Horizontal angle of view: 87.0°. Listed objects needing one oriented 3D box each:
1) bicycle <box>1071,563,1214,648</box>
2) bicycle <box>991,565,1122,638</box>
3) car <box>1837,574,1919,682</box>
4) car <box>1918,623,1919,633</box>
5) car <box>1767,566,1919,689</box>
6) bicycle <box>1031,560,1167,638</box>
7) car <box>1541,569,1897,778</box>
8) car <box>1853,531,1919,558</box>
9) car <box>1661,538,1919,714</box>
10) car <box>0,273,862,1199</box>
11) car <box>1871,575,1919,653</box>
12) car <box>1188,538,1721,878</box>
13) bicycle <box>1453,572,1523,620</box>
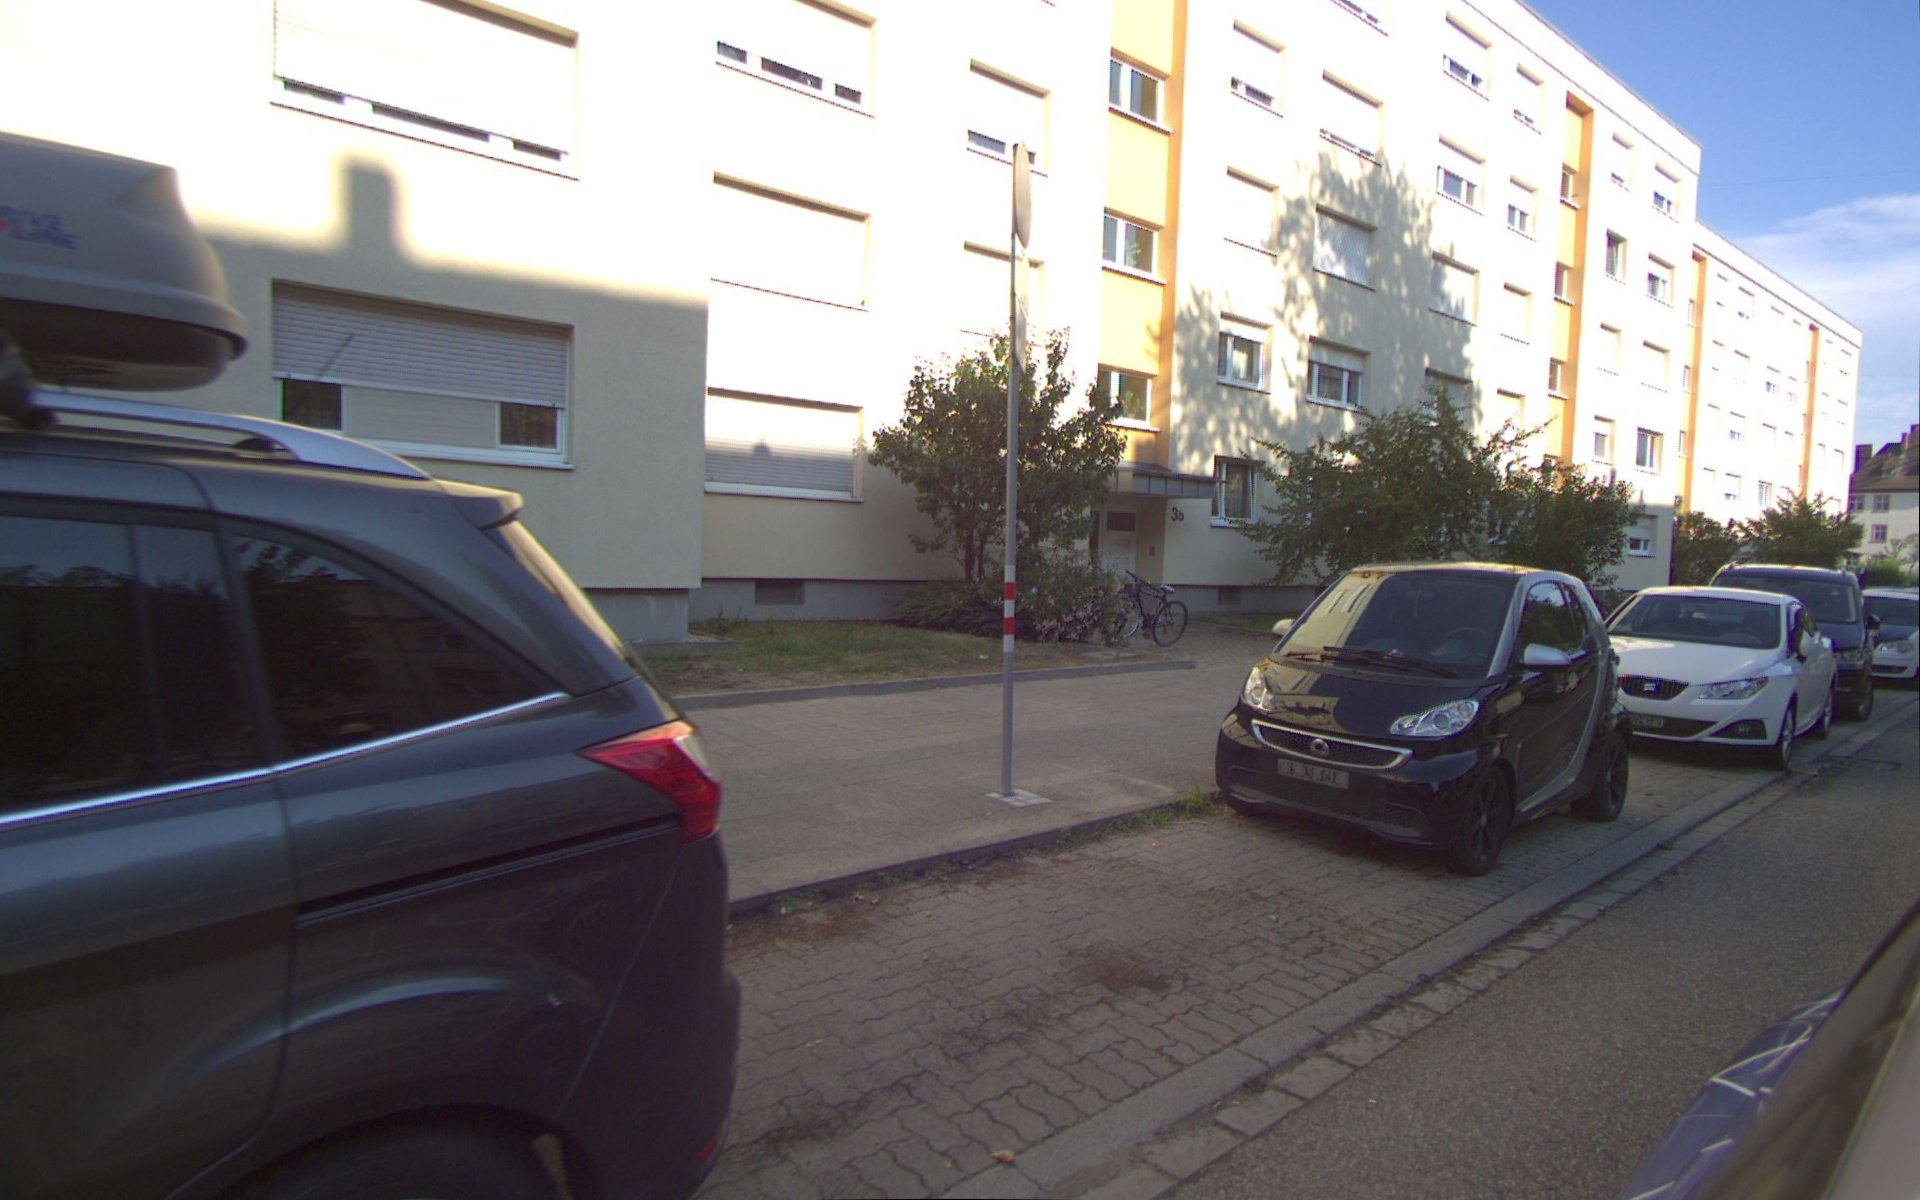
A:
[{"bbox_3d":[2.625,0.084,14.316,2.351,1.095,0.601,2,2,-41],"label":"bicycle"},{"bbox_3d":[1.592,0.035,16.361,2.351,1.095,0.601,2,2,-41],"label":"bicycle"},{"bbox_3d":[18.731,0.522,19.607,3.909,1.791,1.844,-1,10,-40],"label":"car"},{"bbox_3d":[27.200,0.240,27.054,3.933,1.458,1.879,-2,10,-43],"label":"car"},{"bbox_3d":[14.547,0.334,16.008,4.098,1.518,1.844,-1,9,-40],"label":"car"},{"bbox_3d":[2.140,-0.004,15.354,2.351,1.095,0.601,2,2,-41],"label":"bicycle"},{"bbox_3d":[7.315,0.474,9.550,4.642,1.432,1.683,-2,6,-41],"label":"car"},{"bbox_3d":[66.323,-3.903,71.944,1.965,1.816,3.996,-1,2,-39],"label":"car"},{"bbox_3d":[10.850,0.251,12.868,4.683,1.771,2.029,1,4,-41],"label":"car"},{"bbox_3d":[-2.412,0.451,1.095,4.267,1.671,1.901,0,3,-41],"label":"car"},{"bbox_3d":[22.730,0.311,23.331,4.205,1.624,1.967,-2,6,-41],"label":"car"},{"bbox_3d":[3.311,0.401,6.406,3.972,1.512,1.609,-2,3,-41],"label":"car"},{"bbox_3d":[13.349,-0.120,25.554,2.350,1.126,0.495,-1,7,-37],"label":"bicycle"}]
